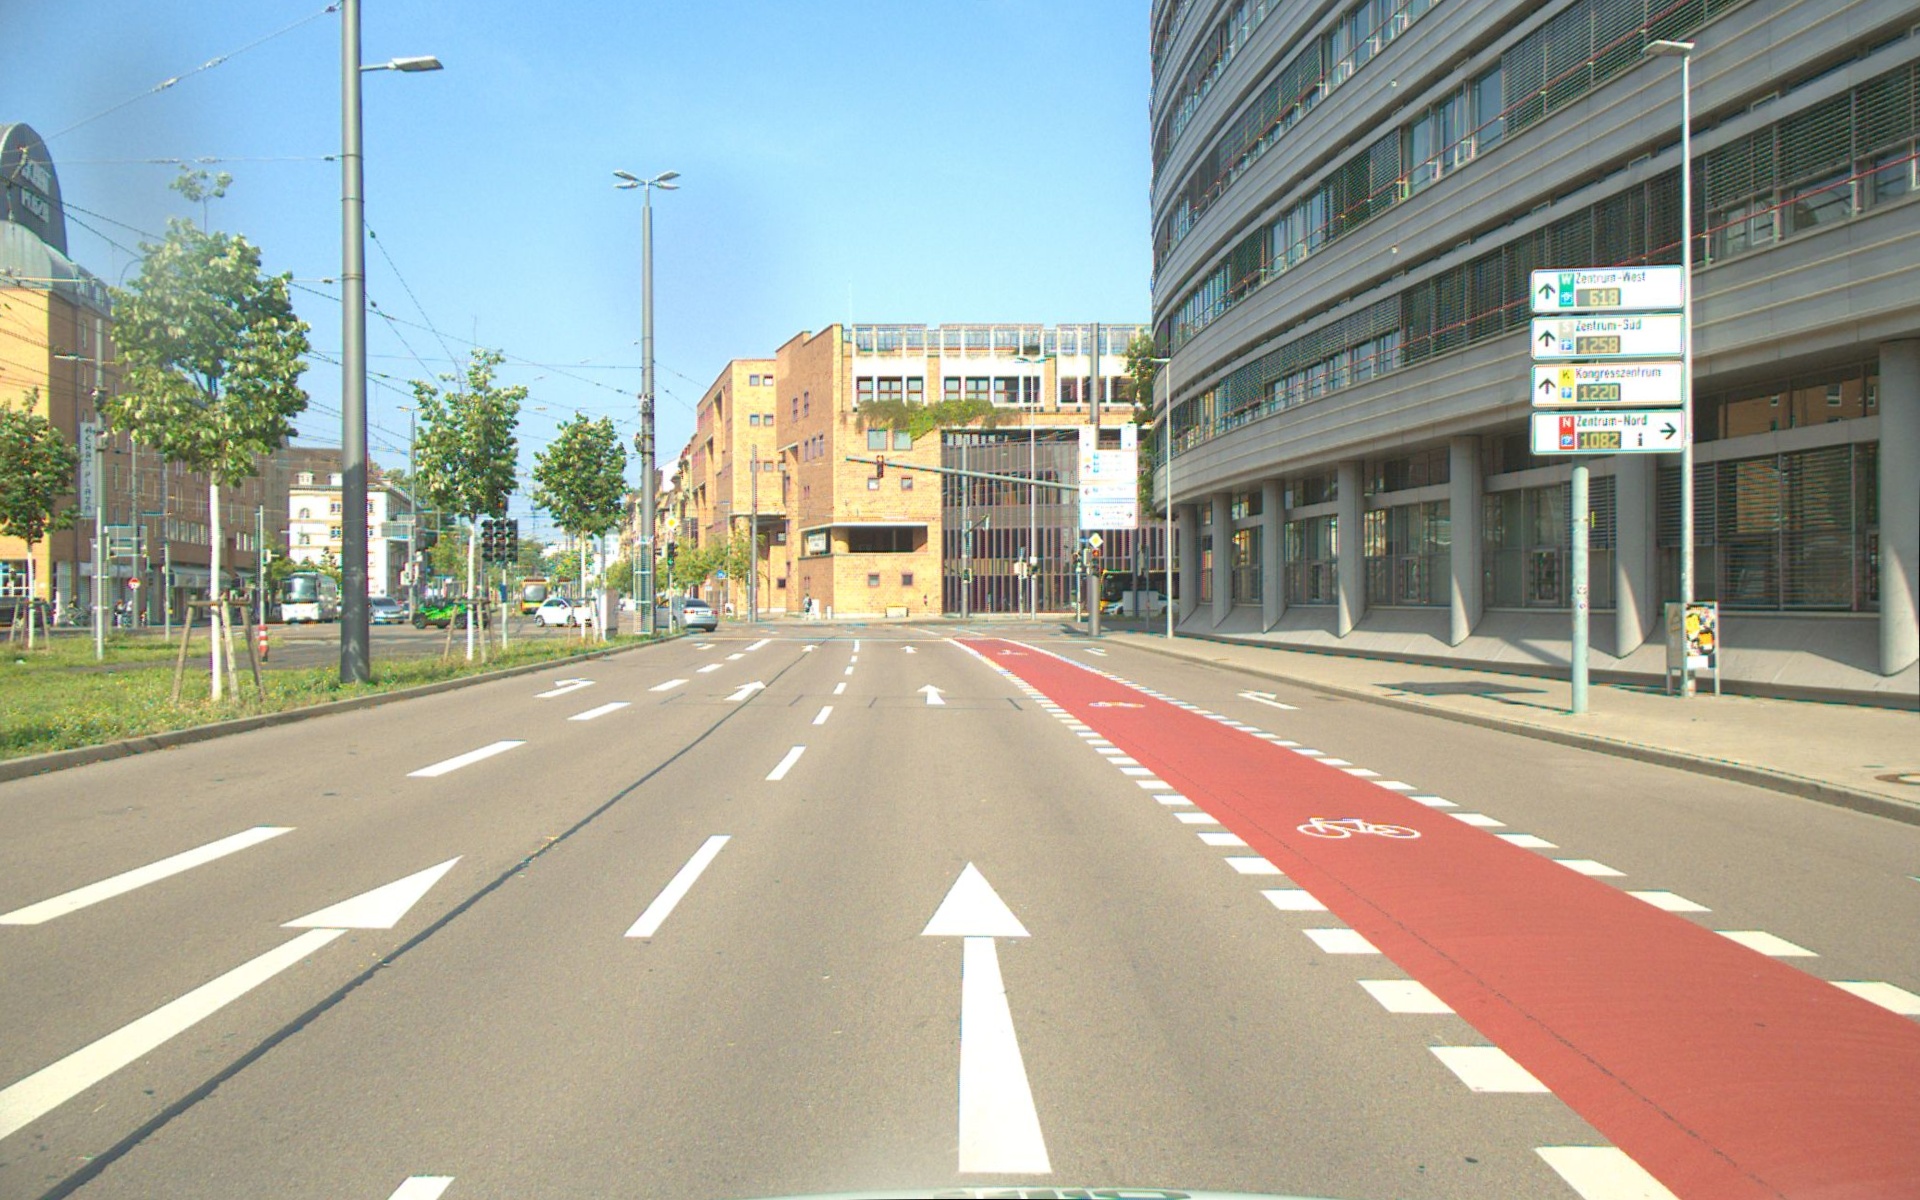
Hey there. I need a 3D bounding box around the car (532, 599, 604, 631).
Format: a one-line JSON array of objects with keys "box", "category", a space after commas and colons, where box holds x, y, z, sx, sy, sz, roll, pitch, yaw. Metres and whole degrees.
[{"box": [-20.333, 0.795, 85.810, 3.371, 1.569, 1.732, -1, -2, 30], "category": "car"}]

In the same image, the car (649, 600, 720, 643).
[{"box": [-11.818, 0.931, 70.856, 1.688, 1.786, 3.847, 0, -1, -32], "category": "car"}]

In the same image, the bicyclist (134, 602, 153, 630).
[{"box": [-50.436, 0.995, 102.214, 0.971, 1.725, 0.667, 0, -2, -19], "category": "bicyclist"}]

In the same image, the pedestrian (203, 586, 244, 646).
[{"box": [-25.490, 0.544, 57.241, 1.134, 2.049, 0.774, 0, -2, -11], "category": "pedestrian"}]

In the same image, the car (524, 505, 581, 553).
[{"box": [-19.954, -3.469, 81.148, 1.954, 2.049, 4.240, 0, -1, -3], "category": "car"}]

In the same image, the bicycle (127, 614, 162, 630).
[{"box": [-50.395, 1.364, 102.214, 1.930, 0.987, 0.417, 0, -2, -19], "category": "bicycle"}]

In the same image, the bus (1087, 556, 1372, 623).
[{"box": [16.649, -0.634, 102.741, 17.261, 3.877, 2.863, 0, -2, -4], "category": "bus"}]

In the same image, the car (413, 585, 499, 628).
[{"box": [-25.037, 0.351, 82.119, 3.913, 2.049, 1.996, -1, -2, 31], "category": "car"}]

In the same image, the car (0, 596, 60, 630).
[{"box": [-49.369, 0.685, 86.642, 3.907, 1.708, 1.999, -1, -2, 25], "category": "car"}]

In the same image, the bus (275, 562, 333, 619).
[{"box": [-48.549, -0.682, 122.604, 2.702, 3.989, 12.165, 0, 0, -16], "category": "bus"}]

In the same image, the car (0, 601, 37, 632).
[{"box": [-52.886, 0.913, 90.611, 3.538, 1.652, 1.867, -1, 0, -1], "category": "car"}]

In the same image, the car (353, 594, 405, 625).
[{"box": [-34.136, 0.547, 97.085, 1.672, 1.663, 4.336, -2, 2, -36], "category": "car"}]

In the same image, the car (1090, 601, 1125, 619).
[{"box": [8.770, 0.605, 98.383, 1.914, 0.975, 1.092, 2, -3, -6], "category": "car"}]

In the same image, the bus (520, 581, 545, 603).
[{"box": [-40.405, -0.755, 156.278, 1.964, 2.049, 3.977, 0, 0, -20], "category": "bus"}]
